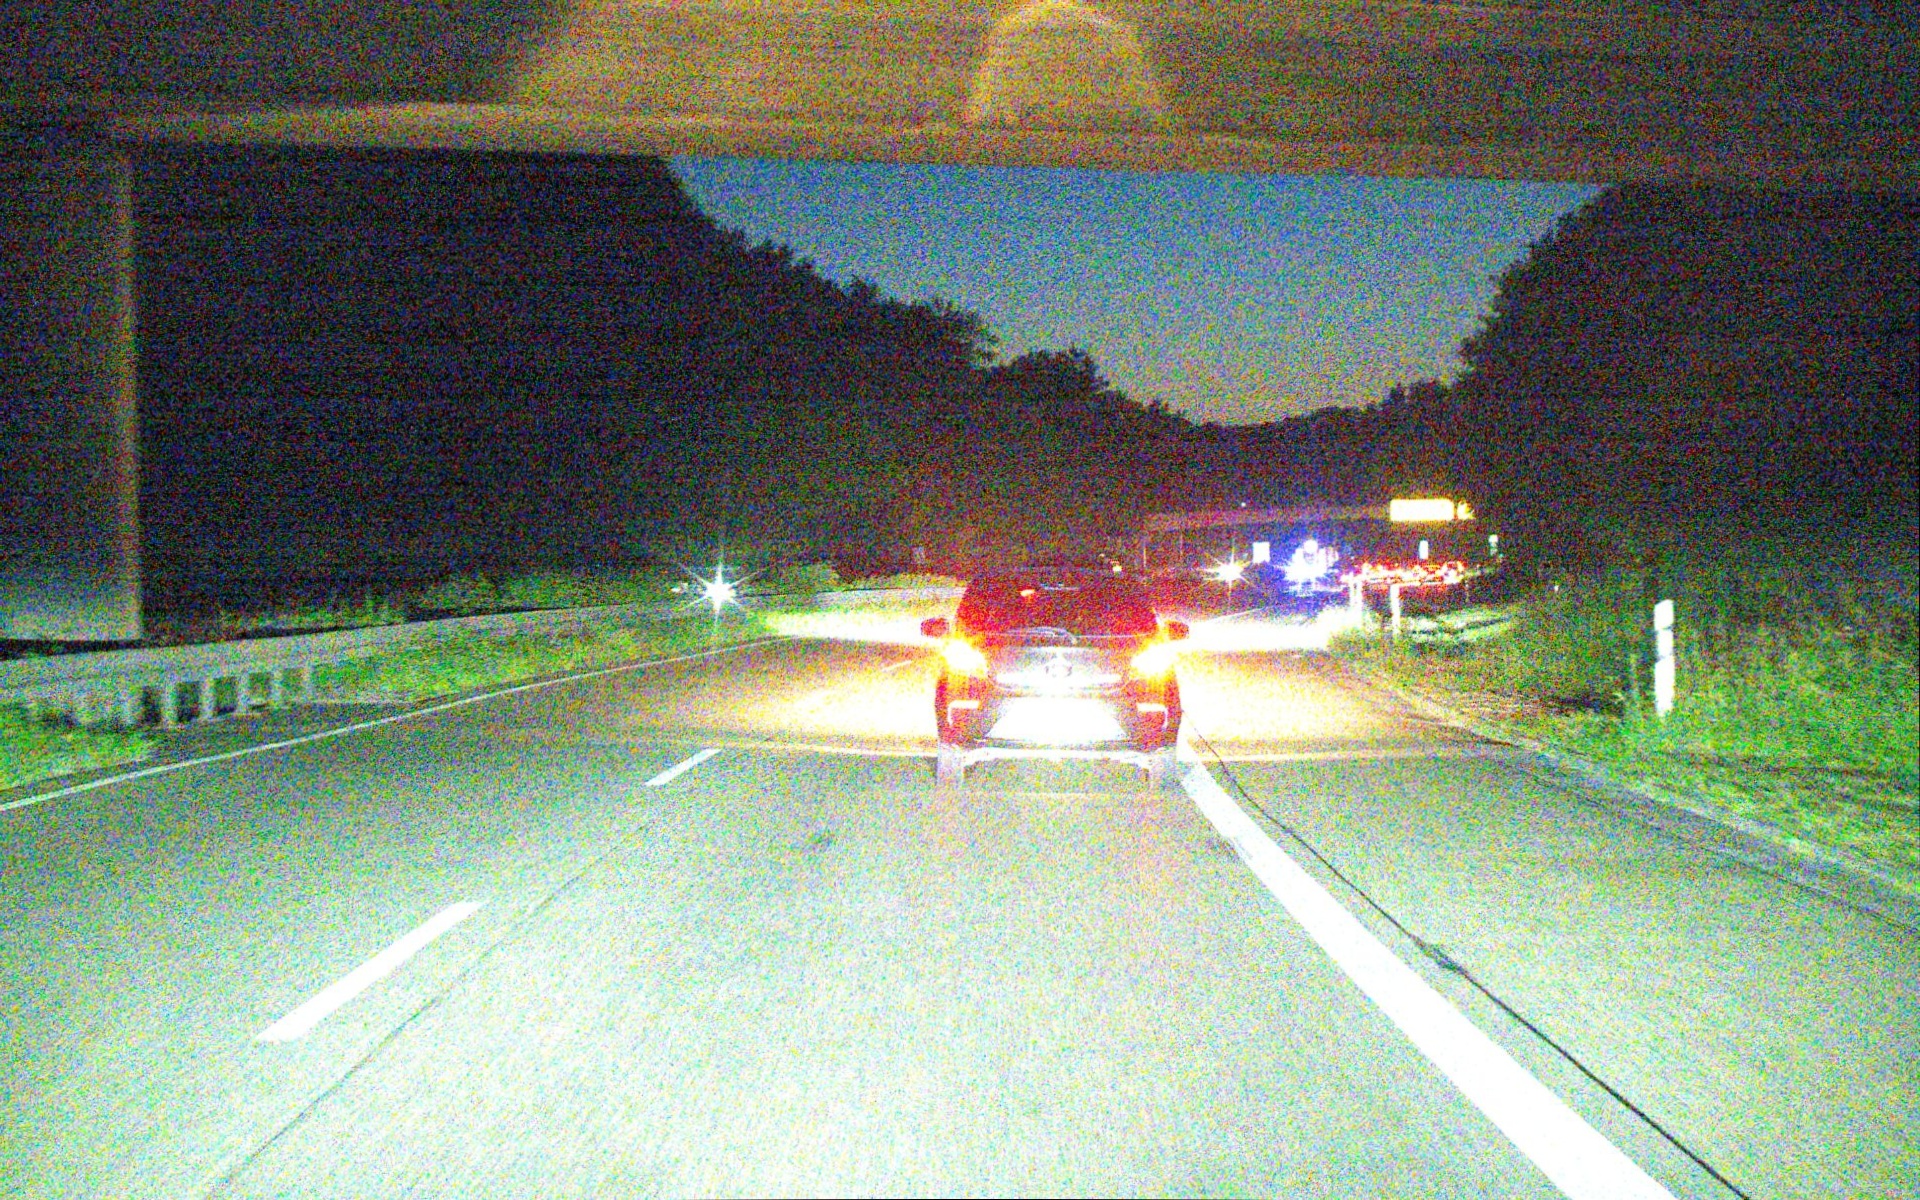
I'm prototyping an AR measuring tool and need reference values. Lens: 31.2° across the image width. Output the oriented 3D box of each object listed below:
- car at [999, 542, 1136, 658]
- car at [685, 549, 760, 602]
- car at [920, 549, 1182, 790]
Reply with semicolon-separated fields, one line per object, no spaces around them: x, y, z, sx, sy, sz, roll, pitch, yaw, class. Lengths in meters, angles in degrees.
1.690;-0.032;52.915;1.907;1.692;4.000;0;1;5;car
-7.623;-0.794;110.794;1.993;1.652;4.534;-1;0;1;car
0.560;0.418;23.953;1.588;1.503;4.000;1;1;-1;car
